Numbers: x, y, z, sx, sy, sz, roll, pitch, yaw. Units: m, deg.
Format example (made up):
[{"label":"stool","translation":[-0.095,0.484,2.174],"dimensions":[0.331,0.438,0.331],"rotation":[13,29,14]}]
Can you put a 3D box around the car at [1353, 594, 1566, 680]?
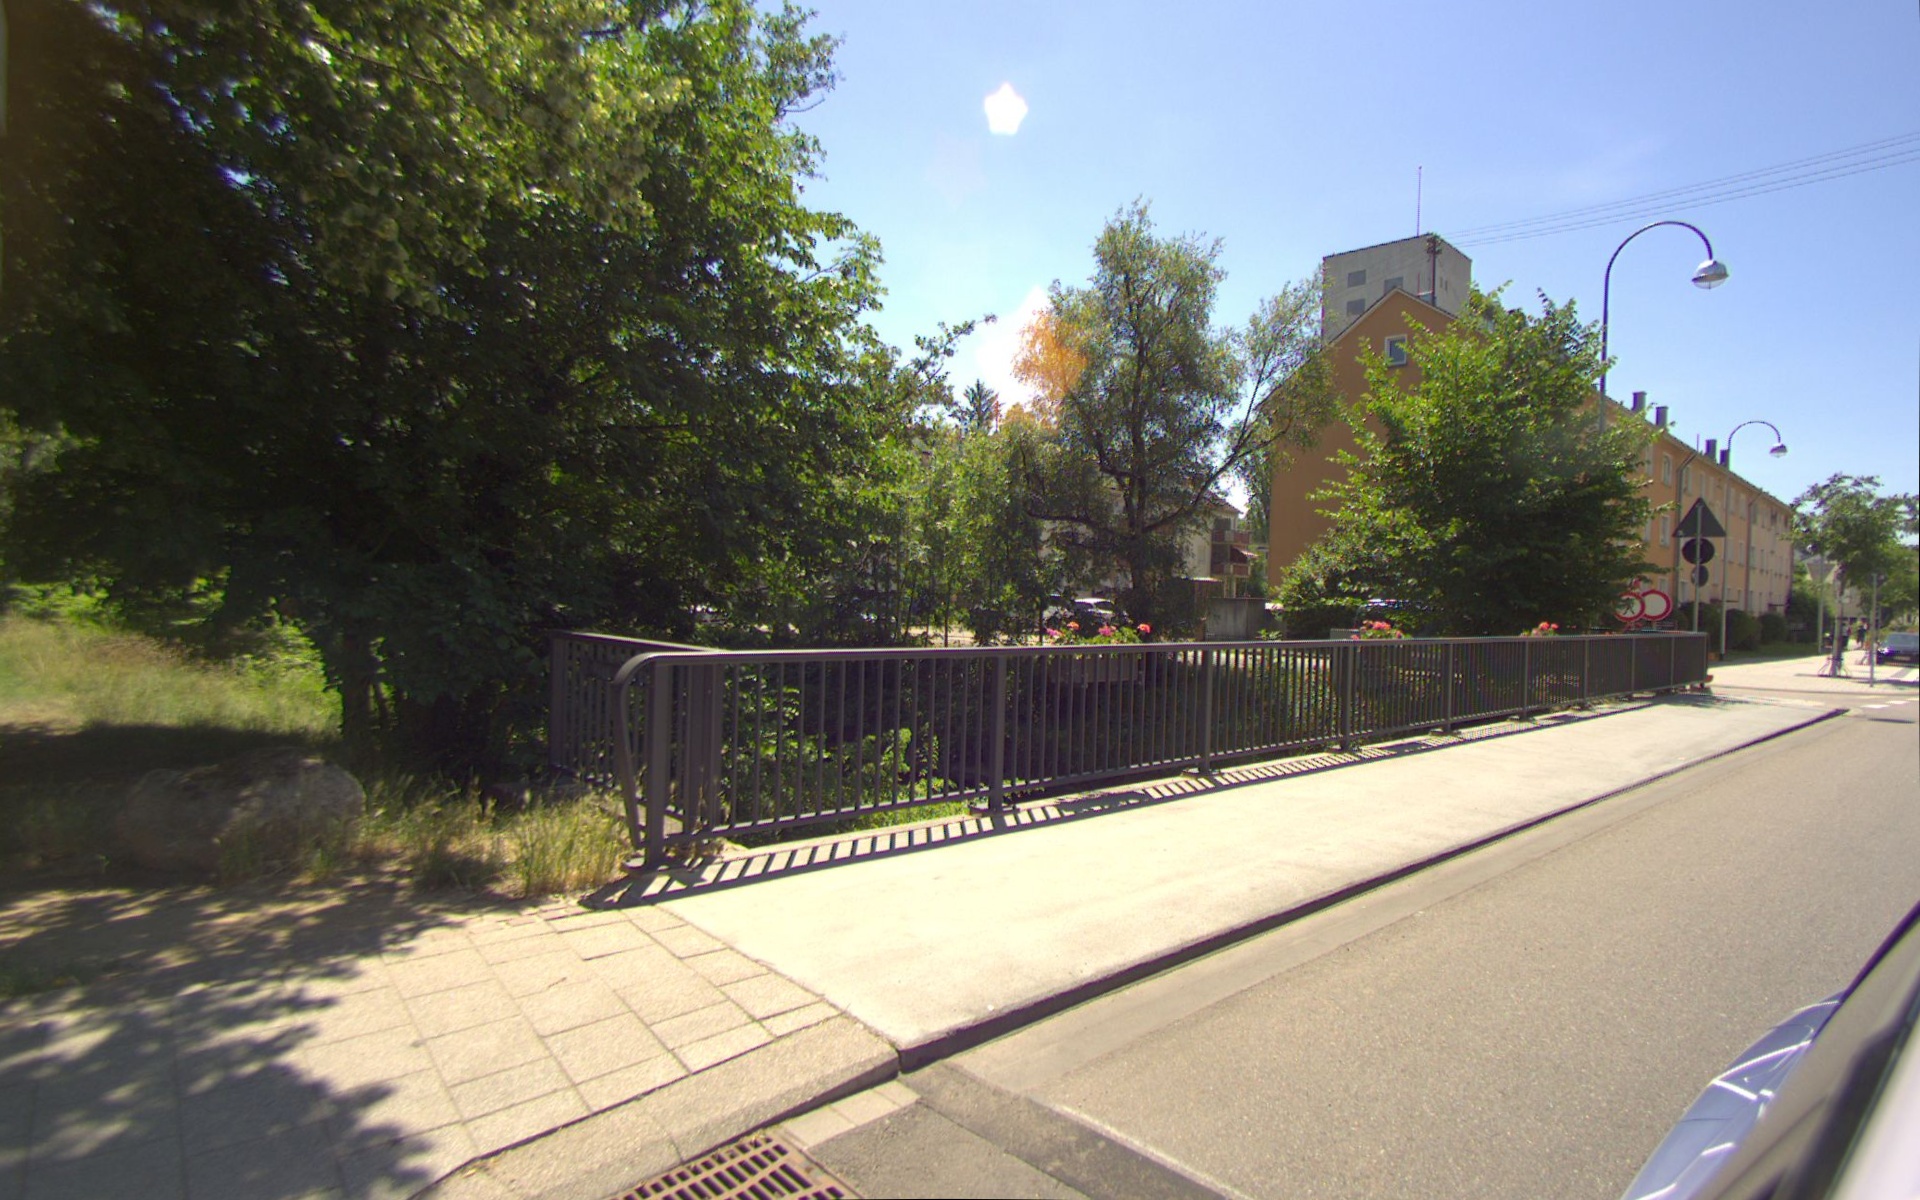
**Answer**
[{"label":"car","translation":[11.843,0.805,24.137],"dimensions":[4.328,1.862,1.726],"rotation":[1,0,38]}]

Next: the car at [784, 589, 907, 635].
[{"label":"car","translation":[-4.152,0.383,36.233],"dimensions":[4.490,1.440,1.737],"rotation":[2,3,38]}]

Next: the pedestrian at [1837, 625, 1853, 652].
[{"label":"pedestrian","translation":[62.095,2.691,71.010],"dimensions":[0.793,1.801,0.993],"rotation":[2,0,42]}]

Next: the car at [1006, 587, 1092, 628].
[{"label":"car","translation":[3.862,0.329,43.616],"dimensions":[1.987,1.650,3.950],"rotation":[2,1,35]}]

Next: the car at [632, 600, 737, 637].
[{"label":"car","translation":[-11.416,0.731,41.872],"dimensions":[4.489,1.399,1.882],"rotation":[1,0,38]}]

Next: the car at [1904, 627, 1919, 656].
[{"label":"car","translation":[54.452,2.350,56.859],"dimensions":[1.812,1.495,4.439],"rotation":[4,2,41]}]

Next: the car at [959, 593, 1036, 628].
[{"label":"car","translation":[1.722,0.480,45.394],"dimensions":[1.609,1.438,3.871],"rotation":[2,1,34]}]

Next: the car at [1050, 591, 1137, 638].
[{"label":"car","translation":[5.636,0.585,42.431],"dimensions":[1.987,1.806,3.950],"rotation":[2,0,35]}]

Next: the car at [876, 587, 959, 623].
[{"label":"car","translation":[-1.987,0.253,48.693],"dimensions":[1.987,1.583,3.950],"rotation":[2,1,35]}]

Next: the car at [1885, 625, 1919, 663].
[{"label":"car","translation":[42.673,1.959,45.128],"dimensions":[1.835,1.522,4.981],"rotation":[5,2,45]}]

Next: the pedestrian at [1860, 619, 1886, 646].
[{"label":"pedestrian","translation":[63.068,2.225,69.914],"dimensions":[1.171,1.754,1.174],"rotation":[6,3,41]}]

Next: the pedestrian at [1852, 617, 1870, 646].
[{"label":"pedestrian","translation":[60.441,2.092,67.877],"dimensions":[0.820,1.877,0.969],"rotation":[2,0,42]}]

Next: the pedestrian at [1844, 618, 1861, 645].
[{"label":"pedestrian","translation":[62.222,2.178,70.551],"dimensions":[0.788,1.833,0.991],"rotation":[5,2,42]}]
